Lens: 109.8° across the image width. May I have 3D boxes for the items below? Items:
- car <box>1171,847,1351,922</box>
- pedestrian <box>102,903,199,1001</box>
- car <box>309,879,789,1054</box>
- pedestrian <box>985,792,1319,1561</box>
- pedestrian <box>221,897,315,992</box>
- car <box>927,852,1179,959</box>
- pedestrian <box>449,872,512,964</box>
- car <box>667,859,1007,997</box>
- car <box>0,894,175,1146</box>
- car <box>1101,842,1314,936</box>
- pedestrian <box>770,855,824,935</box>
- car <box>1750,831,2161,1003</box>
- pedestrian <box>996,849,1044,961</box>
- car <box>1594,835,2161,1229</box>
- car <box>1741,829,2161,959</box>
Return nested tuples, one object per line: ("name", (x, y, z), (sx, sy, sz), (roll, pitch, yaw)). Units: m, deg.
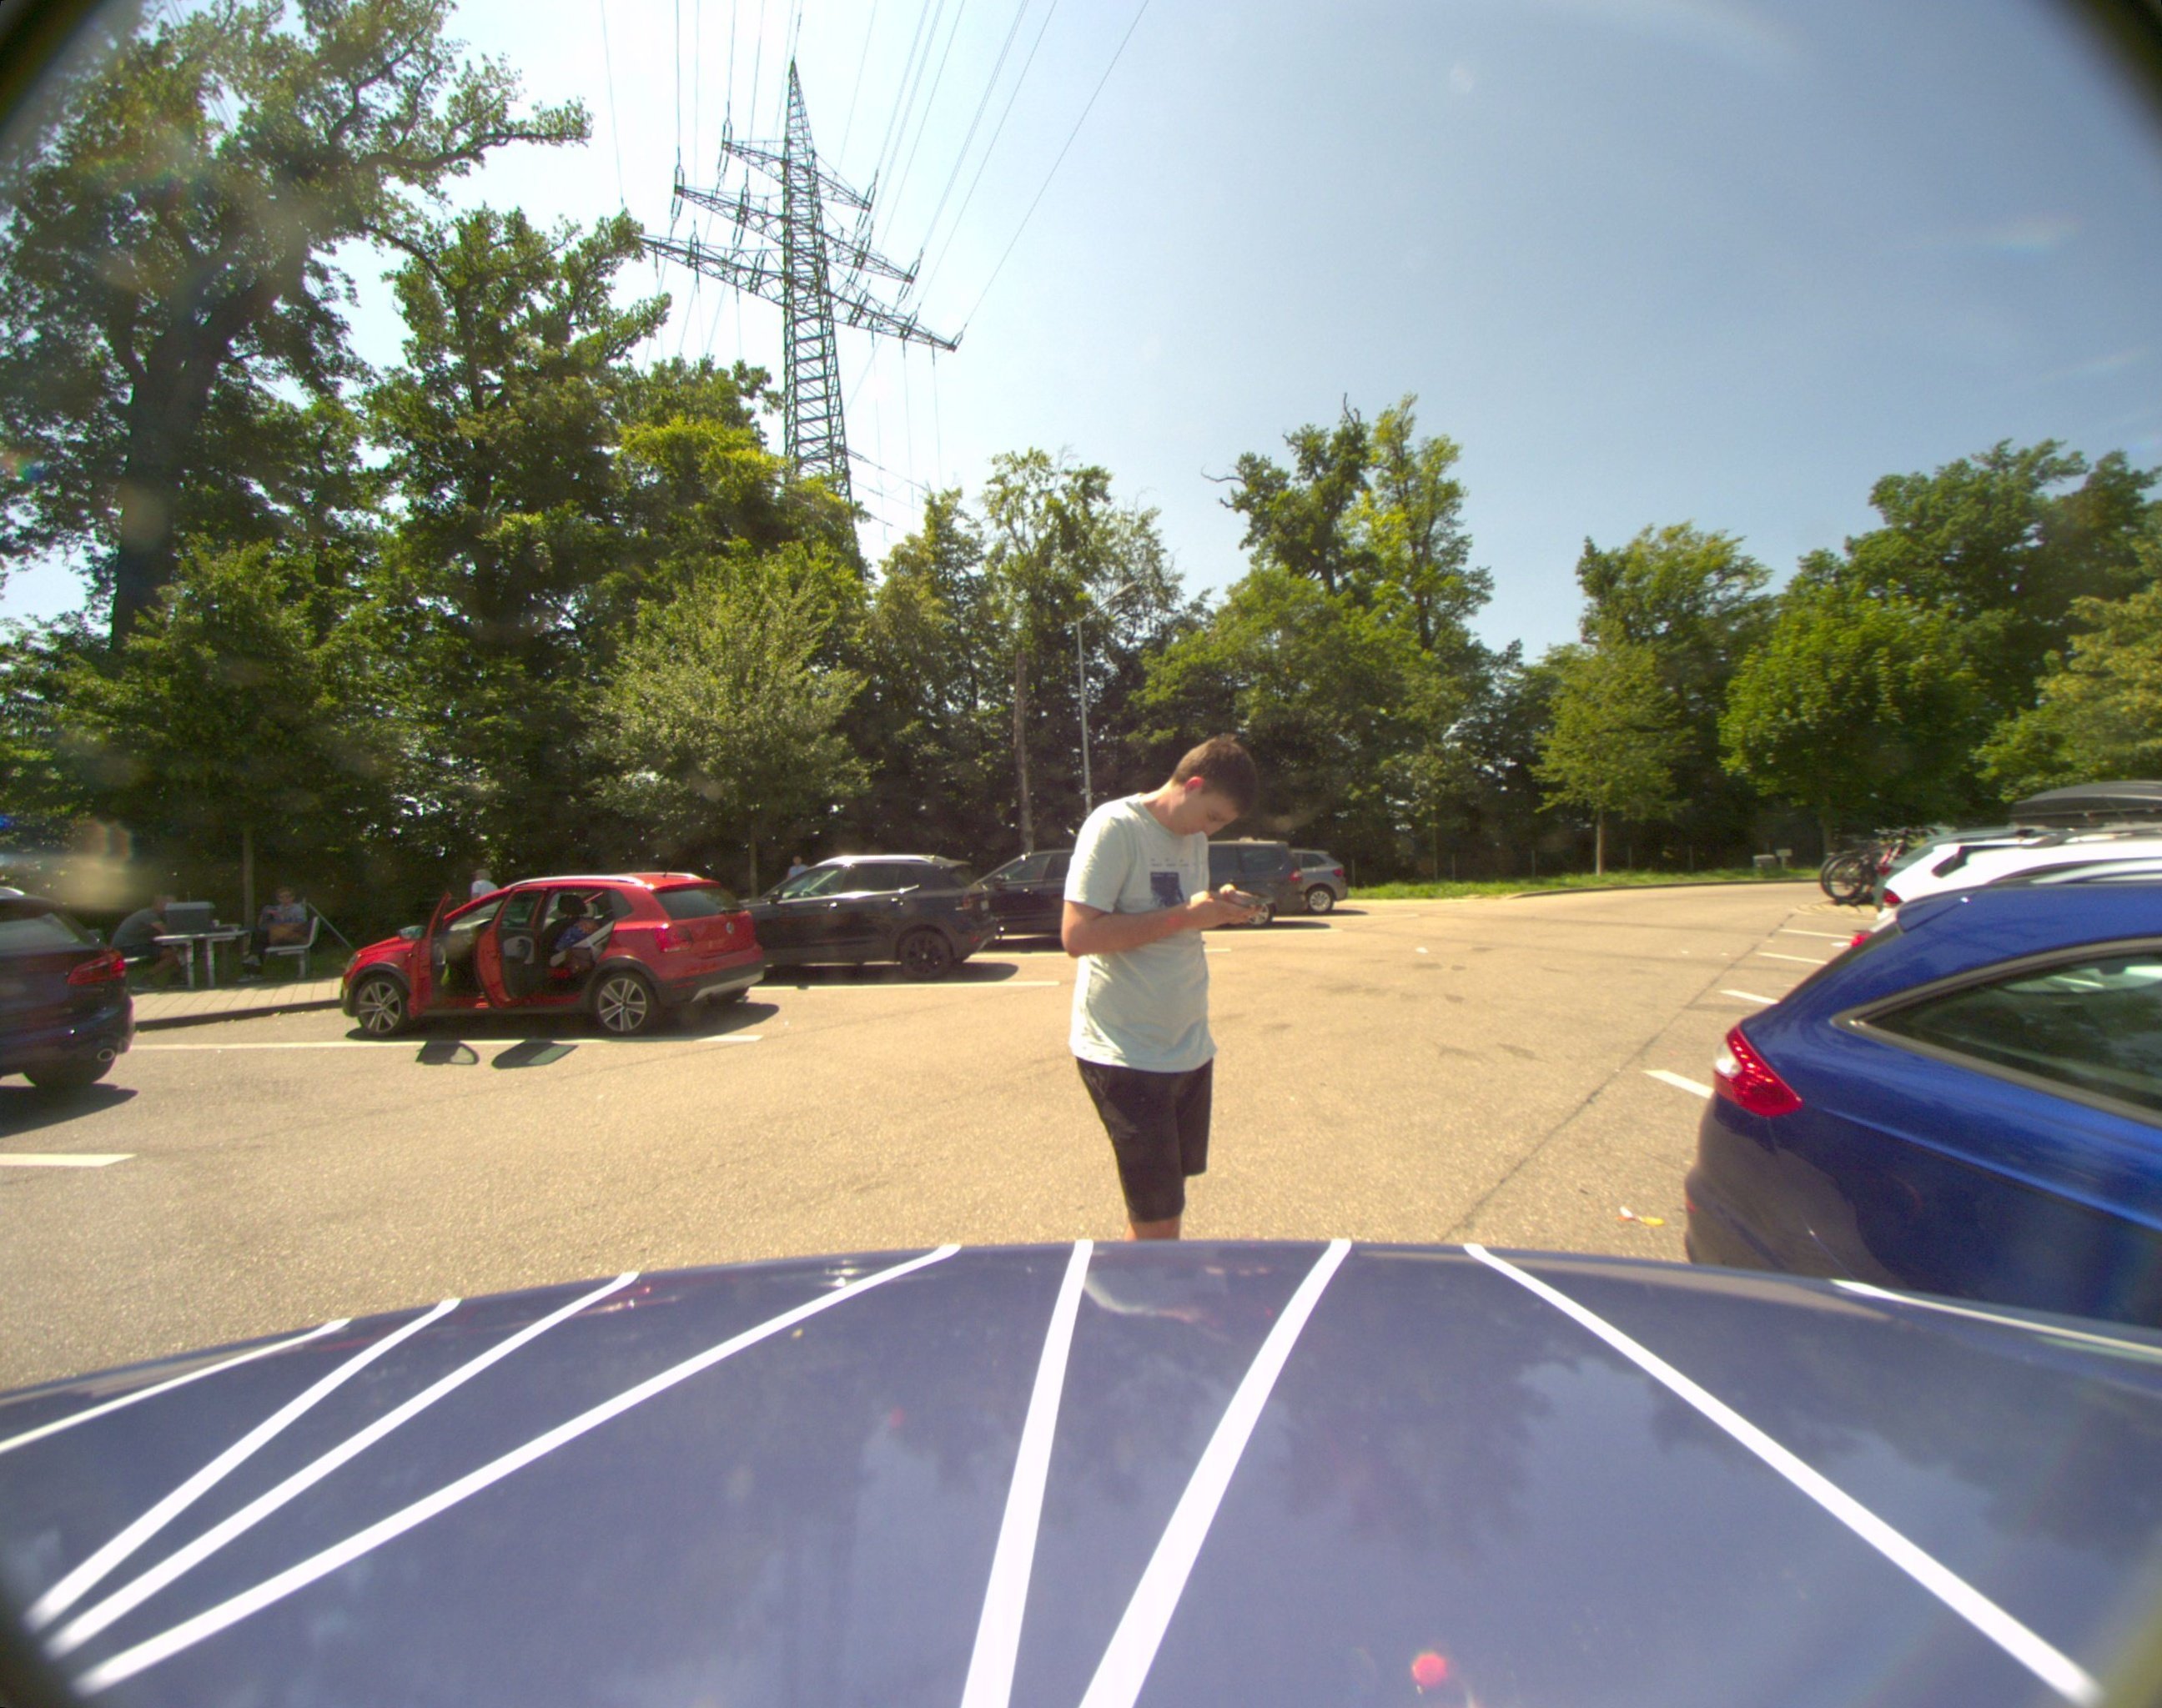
("car", (4.174, 0.710, 18.195), (3.964, 1.577, 1.781), (-2, 0, 7))
("pedestrian", (-12.888, 1.340, 10.533), (0.652, 1.262, 0.672), (-2, 0, 24))
("car", (-5.196, 1.070, 7.712), (3.704, 1.448, 1.781), (-2, 0, 7))
("pedestrian", (0.162, 0.726, 1.991), (0.687, 1.699, 0.578), (-2, 0, 1))
("pedestrian", (-11.879, 1.297, 11.108), (0.828, 1.287, 0.672), (-2, 0, 24))
("car", (-0.380, 0.839, 12.958), (3.964, 1.582, 1.781), (-2, 0, 8))
("pedestrian", (-10.867, 1.133, 13.785), (0.811, 1.584, 0.774), (-2, 0, -36))
("car", (-3.150, 0.936, 10.372), (3.966, 1.582, 1.841), (-2, 0, 3))
("car", (-8.922, 1.154, 4.994), (4.011, 1.558, 1.846), (-2, 0, 6))
("car", (2.505, 0.694, 15.442), (3.964, 1.678, 1.781), (-2, 0, 7))
("pedestrian", (-5.803, 0.823, 15.566), (0.714, 1.584, 0.810), (-2, 0, 5))
("car", (10.060, 0.530, 8.150), (1.779, 1.456, 4.470), (-2, -1, 0))
("pedestrian", (-0.972, 0.808, 12.263), (0.660, 1.745, 0.636), (-2, 0, 1))
("car", (4.903, 0.654, 3.659), (1.779, 1.456, 4.470), (-2, -1, 0))
("car", (12.362, 0.474, 10.935), (1.779, 1.456, 4.470), (-2, -1, 0))
